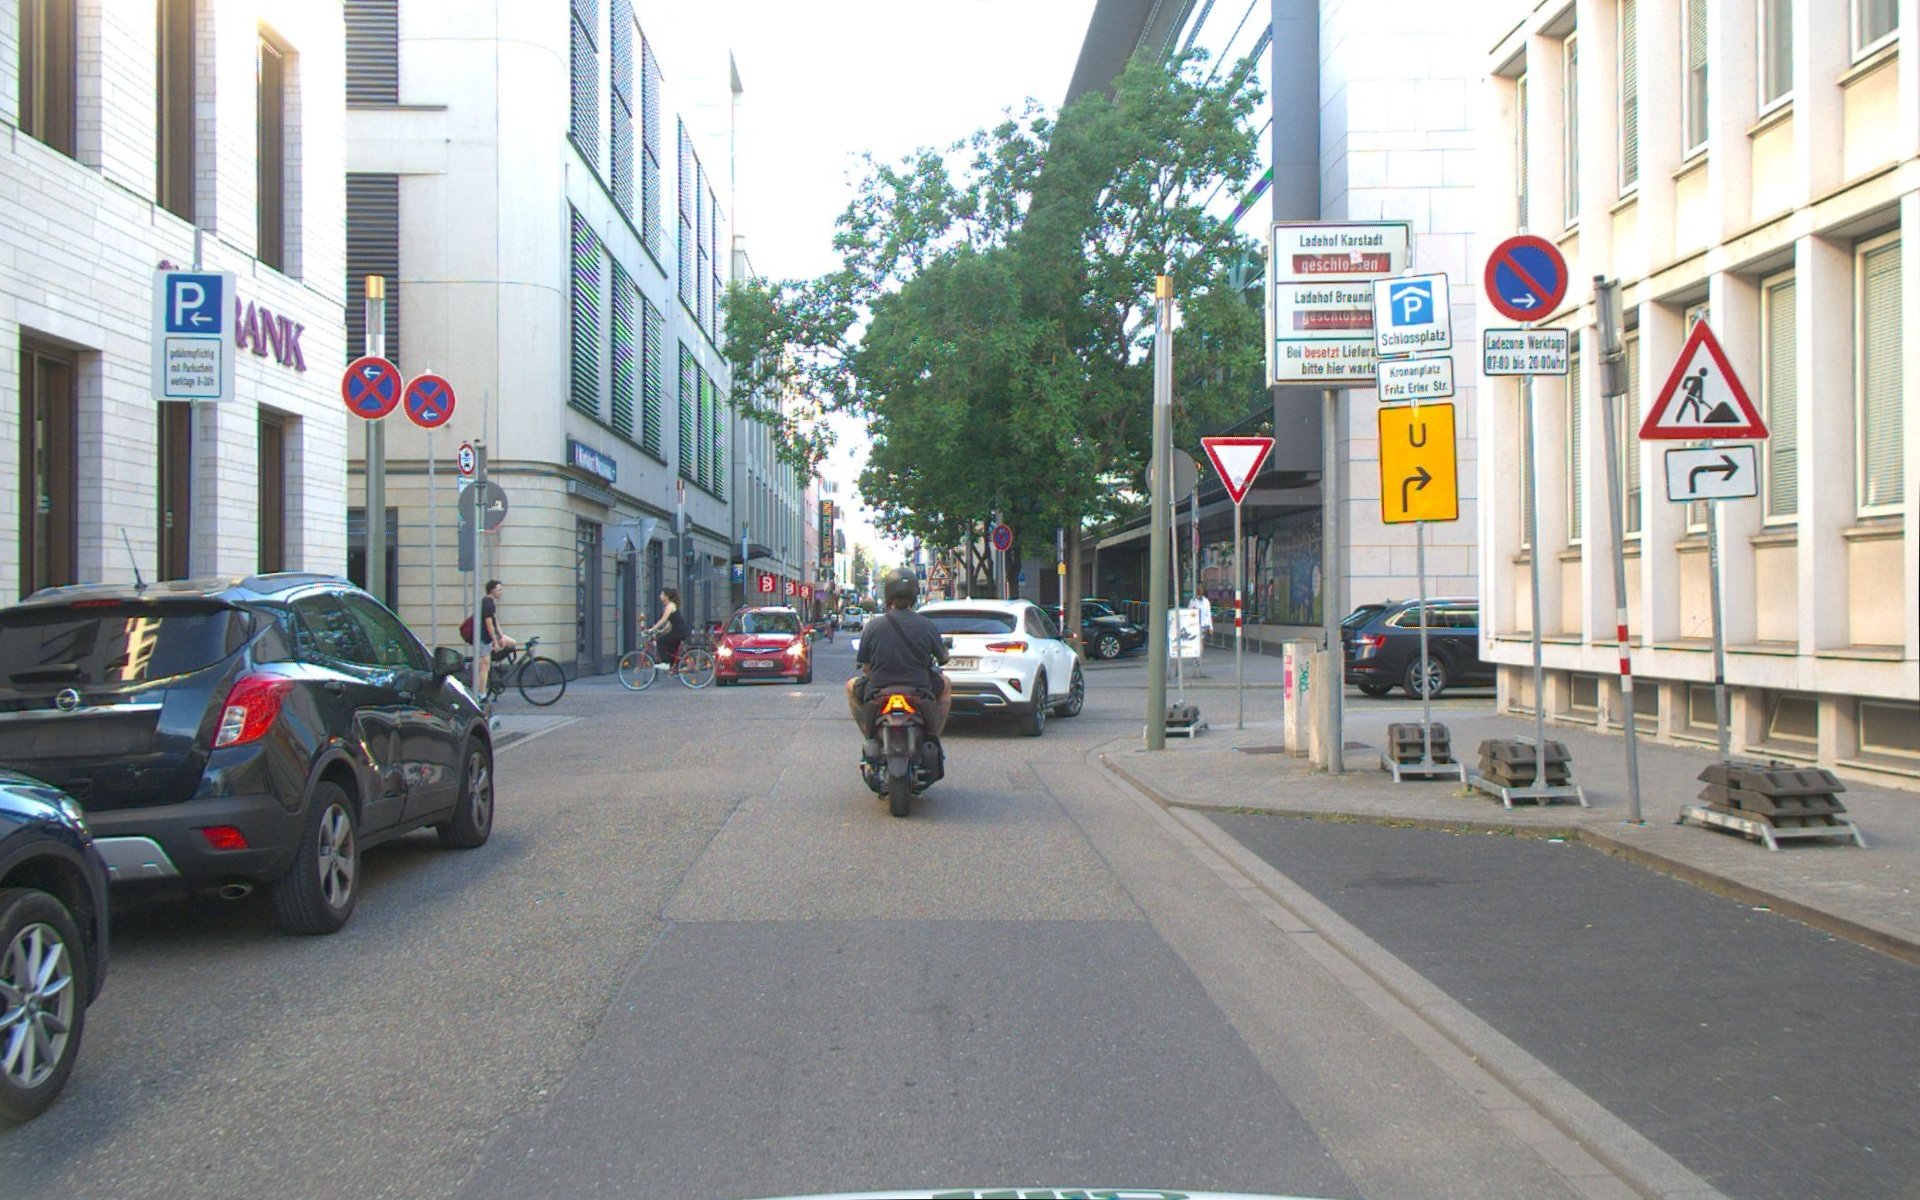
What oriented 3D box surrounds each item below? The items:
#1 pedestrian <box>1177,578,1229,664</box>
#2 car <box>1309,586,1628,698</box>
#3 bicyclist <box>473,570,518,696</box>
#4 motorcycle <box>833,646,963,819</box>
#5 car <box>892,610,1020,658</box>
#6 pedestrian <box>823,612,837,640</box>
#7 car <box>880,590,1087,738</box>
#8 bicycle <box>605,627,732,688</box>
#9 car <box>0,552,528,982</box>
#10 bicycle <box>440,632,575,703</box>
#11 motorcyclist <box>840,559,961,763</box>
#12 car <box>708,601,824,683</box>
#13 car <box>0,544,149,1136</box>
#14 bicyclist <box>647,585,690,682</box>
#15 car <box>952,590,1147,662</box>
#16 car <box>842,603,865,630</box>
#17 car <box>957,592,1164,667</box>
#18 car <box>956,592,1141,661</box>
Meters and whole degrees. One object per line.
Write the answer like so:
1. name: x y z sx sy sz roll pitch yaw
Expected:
1. pedestrian: 5.107 0.440 34.811 0.887 1.735 0.834 -3 -1 -1
2. car: 7.632 0.599 25.023 4.267 1.568 1.826 0 1 -7
3. bicyclist: -6.555 0.462 23.353 0.540 1.762 0.500 1 -1 -11
4. motorcycle: -0.430 0.911 11.979 0.855 1.129 1.839 0 -1 -1
5. car: -0.190 1.349 65.877 4.907 1.525 1.998 -4 -1 -5
6. pedestrian: -7.312 1.477 93.250 0.717 1.602 0.636 0 -1 -2
7. car: 0.406 0.675 19.880 1.783 1.568 4.267 0 0 11
8. bicycle: -4.991 0.980 28.366 2.058 1.012 0.519 0 -1 3
9. car: -3.761 0.683 8.882 1.785 1.707 4.262 -2 0 -1
10. bicycle: -6.379 0.951 23.381 1.782 0.991 0.510 1 -1 -11
11. motorcyclist: -0.430 0.438 12.066 0.849 1.452 0.455 0 -1 -2
12. car: -3.740 0.847 32.528 1.785 1.491 4.262 0 -2 0
13. car: -3.444 0.695 3.320 1.705 1.622 4.151 -2 0 -3
14. bicyclist: -4.990 0.572 28.365 0.616 1.654 0.498 0 -1 2
15. car: 2.334 0.697 44.111 4.907 1.525 1.998 -4 -1 -5
16. car: -9.925 1.540 153.831 1.954 2.370 5.016 2 0 -4
17. car: 2.482 0.743 41.670 4.907 1.477 1.998 -4 -1 -5
18. car: 2.444 0.744 46.479 4.907 1.525 1.998 -4 -1 -5
